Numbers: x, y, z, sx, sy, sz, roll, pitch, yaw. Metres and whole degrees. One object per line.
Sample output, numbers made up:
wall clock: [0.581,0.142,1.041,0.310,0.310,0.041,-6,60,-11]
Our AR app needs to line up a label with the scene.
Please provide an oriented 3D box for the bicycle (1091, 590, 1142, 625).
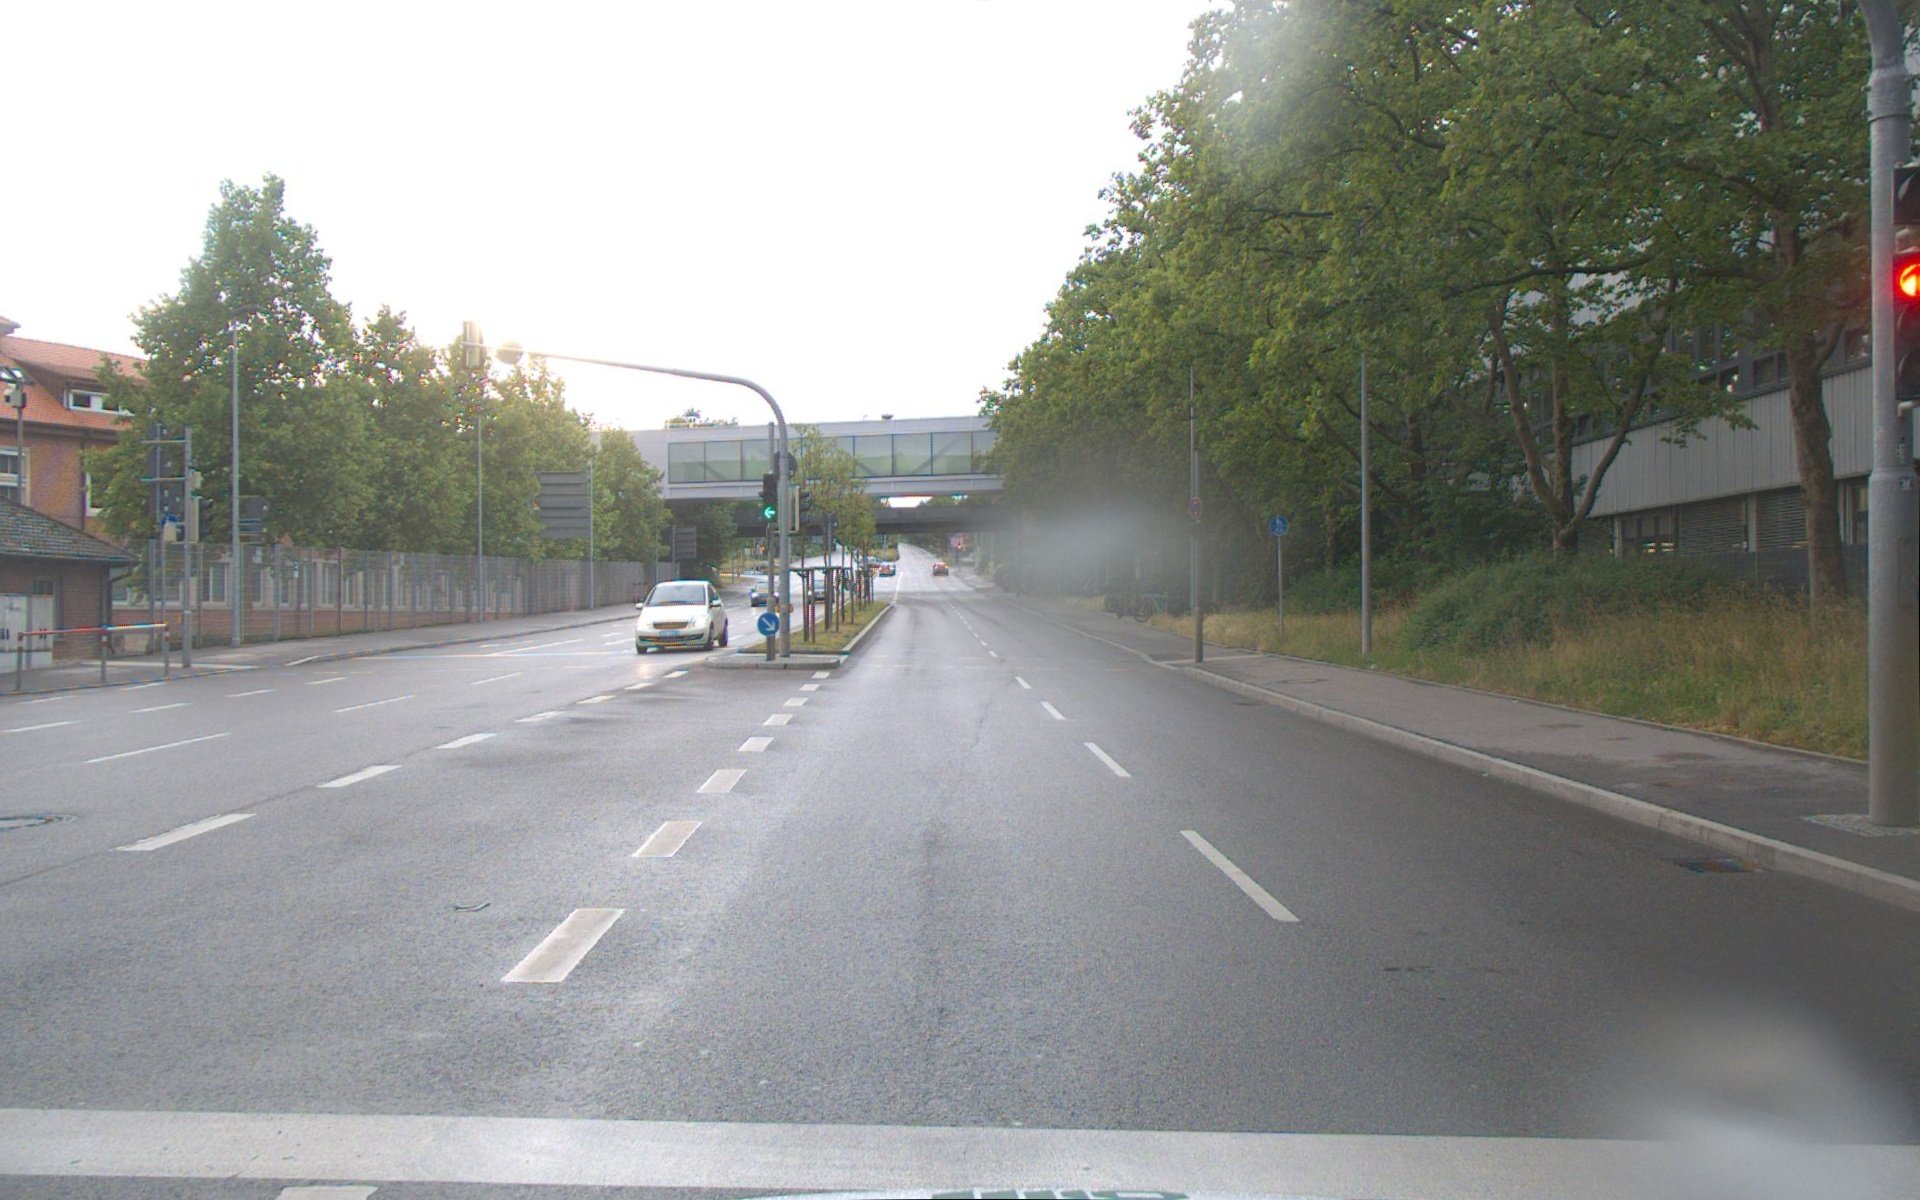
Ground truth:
bicycle: [6.283,0.311,66.437,1.949,1.352,0.576,2,-1,0]

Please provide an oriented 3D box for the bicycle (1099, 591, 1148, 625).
bicycle: [6.807,0.345,68.976,1.949,1.352,0.576,2,-1,0]

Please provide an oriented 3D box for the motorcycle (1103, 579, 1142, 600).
motorcycle: [9.922,-0.638,100.799,2.318,1.223,0.723,-1,0,7]

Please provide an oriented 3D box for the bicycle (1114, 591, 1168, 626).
bicycle: [6.813,0.314,62.357,1.949,1.263,0.541,2,-1,0]

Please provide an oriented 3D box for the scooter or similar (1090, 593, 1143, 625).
scooter or similar: [6.100,0.353,64.512,1.949,1.157,0.541,2,-1,0]

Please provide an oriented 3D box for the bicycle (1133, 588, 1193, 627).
bicycle: [6.917,0.263,56.451,1.949,1.237,0.541,2,-1,0]

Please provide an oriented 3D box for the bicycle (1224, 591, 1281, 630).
bicycle: [10.681,0.387,60.471,1.949,1.352,0.576,2,-1,0]

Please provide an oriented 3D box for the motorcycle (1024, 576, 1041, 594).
motorcycle: [5.321,-1.093,120.987,0.775,1.334,2.371,-1,0,-9]

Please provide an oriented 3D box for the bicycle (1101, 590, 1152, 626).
bicycle: [6.611,0.313,65.633,1.949,1.352,0.576,2,-1,0]

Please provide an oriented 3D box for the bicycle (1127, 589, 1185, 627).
bicycle: [6.950,0.280,58.641,1.949,1.255,0.541,2,-1,0]

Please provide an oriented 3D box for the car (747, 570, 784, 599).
car: [-11.740,-0.940,100.129,1.839,1.653,3.778,-1,0,-1]

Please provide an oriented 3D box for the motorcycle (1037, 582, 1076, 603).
motorcycle: [5.946,-0.478,102.097,2.318,1.223,0.723,-1,0,7]

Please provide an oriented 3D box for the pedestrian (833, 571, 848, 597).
pedestrian: [-9.424,-1.253,130.508,0.858,2.039,0.851,-1,0,39]

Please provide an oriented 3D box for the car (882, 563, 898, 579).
car: [-9.003,-3.747,213.356,1.846,1.792,3.968,2,-1,-1]

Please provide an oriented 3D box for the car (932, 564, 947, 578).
car: [-2.516,-3.568,203.375,1.837,1.523,4.067,2,-1,-1]

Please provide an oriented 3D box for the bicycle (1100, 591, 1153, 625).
bicycle: [6.403,0.316,63.725,1.949,1.263,0.541,2,-1,0]

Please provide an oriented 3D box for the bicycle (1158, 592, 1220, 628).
bicycle: [7.606,0.330,55.002,1.949,1.114,0.541,2,-1,0]

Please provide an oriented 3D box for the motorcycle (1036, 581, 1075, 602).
motorcycle: [5.838,-0.524,101.181,2.318,1.223,0.723,-1,0,7]

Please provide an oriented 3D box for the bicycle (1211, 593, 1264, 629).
bicycle: [10.814,0.438,64.532,1.949,1.352,0.576,2,-1,0]

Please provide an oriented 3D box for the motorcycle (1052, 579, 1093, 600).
motorcycle: [6.637,-0.613,97.484,2.318,1.223,0.723,-1,0,7]

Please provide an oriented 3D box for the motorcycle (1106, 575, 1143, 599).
motorcycle: [10.722,-0.816,107.670,2.318,1.502,0.723,-1,0,7]

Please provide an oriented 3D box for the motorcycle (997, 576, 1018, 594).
motorcycle: [3.631,-1.115,125.923,0.778,1.334,2.364,-1,0,-19]

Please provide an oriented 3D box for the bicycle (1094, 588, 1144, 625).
bicycle: [6.526,0.275,68.118,1.949,1.455,0.723,2,-1,0]

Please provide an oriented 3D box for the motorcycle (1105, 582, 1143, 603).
motorcycle: [10.124,-0.484,102.081,2.318,1.223,0.723,-1,0,7]

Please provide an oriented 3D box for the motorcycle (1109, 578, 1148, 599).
motorcycle: [10.150,-0.676,99.549,2.318,1.223,0.723,-1,0,7]

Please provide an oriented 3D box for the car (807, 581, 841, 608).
car: [-8.532,-0.360,103.728,1.839,1.653,3.778,-1,0,-1]

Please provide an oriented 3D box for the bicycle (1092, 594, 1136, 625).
bicycle: [7.121,0.441,76.416,1.923,1.352,0.654,2,-1,0]

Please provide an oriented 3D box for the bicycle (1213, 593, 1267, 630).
bicycle: [10.814,0.431,63.908,1.949,1.352,0.576,2,-1,0]

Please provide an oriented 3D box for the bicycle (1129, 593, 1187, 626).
bicycle: [6.941,0.338,58.058,1.949,1.114,0.541,2,-1,0]

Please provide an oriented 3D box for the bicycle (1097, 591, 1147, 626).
bicycle: [6.587,0.332,67.385,1.949,1.352,0.576,2,-1,0]

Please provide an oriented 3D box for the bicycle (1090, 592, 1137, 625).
bicycle: [6.596,0.361,70.921,1.920,1.352,0.576,2,-1,0]

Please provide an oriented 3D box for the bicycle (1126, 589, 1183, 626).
bicycle: [6.956,0.284,59.326,1.949,1.263,0.541,2,-1,0]

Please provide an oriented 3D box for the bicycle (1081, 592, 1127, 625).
bicycle: [6.361,0.379,73.209,1.923,1.352,0.654,2,-1,0]

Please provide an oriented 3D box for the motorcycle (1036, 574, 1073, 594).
motorcycle: [6.102,-1.042,106.741,2.318,1.223,0.723,-1,0,7]

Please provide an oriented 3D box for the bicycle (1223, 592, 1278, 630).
bicycle: [10.847,0.408,61.801,1.949,1.352,0.576,2,-1,0]

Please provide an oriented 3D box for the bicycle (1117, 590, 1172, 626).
bicycle: [6.831,0.304,61.408,1.949,1.263,0.541,2,-1,0]

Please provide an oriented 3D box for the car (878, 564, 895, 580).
car: [-9.240,-3.532,207.005,1.953,1.792,3.999,2,-1,-1]

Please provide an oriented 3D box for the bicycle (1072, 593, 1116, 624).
bicycle: [6.063,0.389,74.925,1.923,1.352,0.654,2,-1,0]

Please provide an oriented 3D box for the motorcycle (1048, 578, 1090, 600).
motorcycle: [6.281,-0.645,95.309,2.318,1.223,0.723,-1,0,7]

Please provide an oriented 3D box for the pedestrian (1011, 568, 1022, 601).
pedestrian: [3.599,-0.997,104.955,0.609,2.049,0.605,-1,0,-1]

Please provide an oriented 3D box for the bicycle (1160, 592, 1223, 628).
bicycle: [7.613,0.324,54.433,1.949,1.114,0.541,2,-1,0]

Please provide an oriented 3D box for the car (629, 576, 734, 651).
car: [-6.515,0.299,39.010,1.839,1.653,3.778,-1,0,-1]

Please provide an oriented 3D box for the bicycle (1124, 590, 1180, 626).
bicycle: [6.955,0.290,59.902,1.949,1.263,0.541,2,-1,0]

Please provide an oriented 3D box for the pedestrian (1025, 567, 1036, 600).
pedestrian: [4.443,-1.031,104.509,0.609,2.049,0.605,-1,0,-1]
